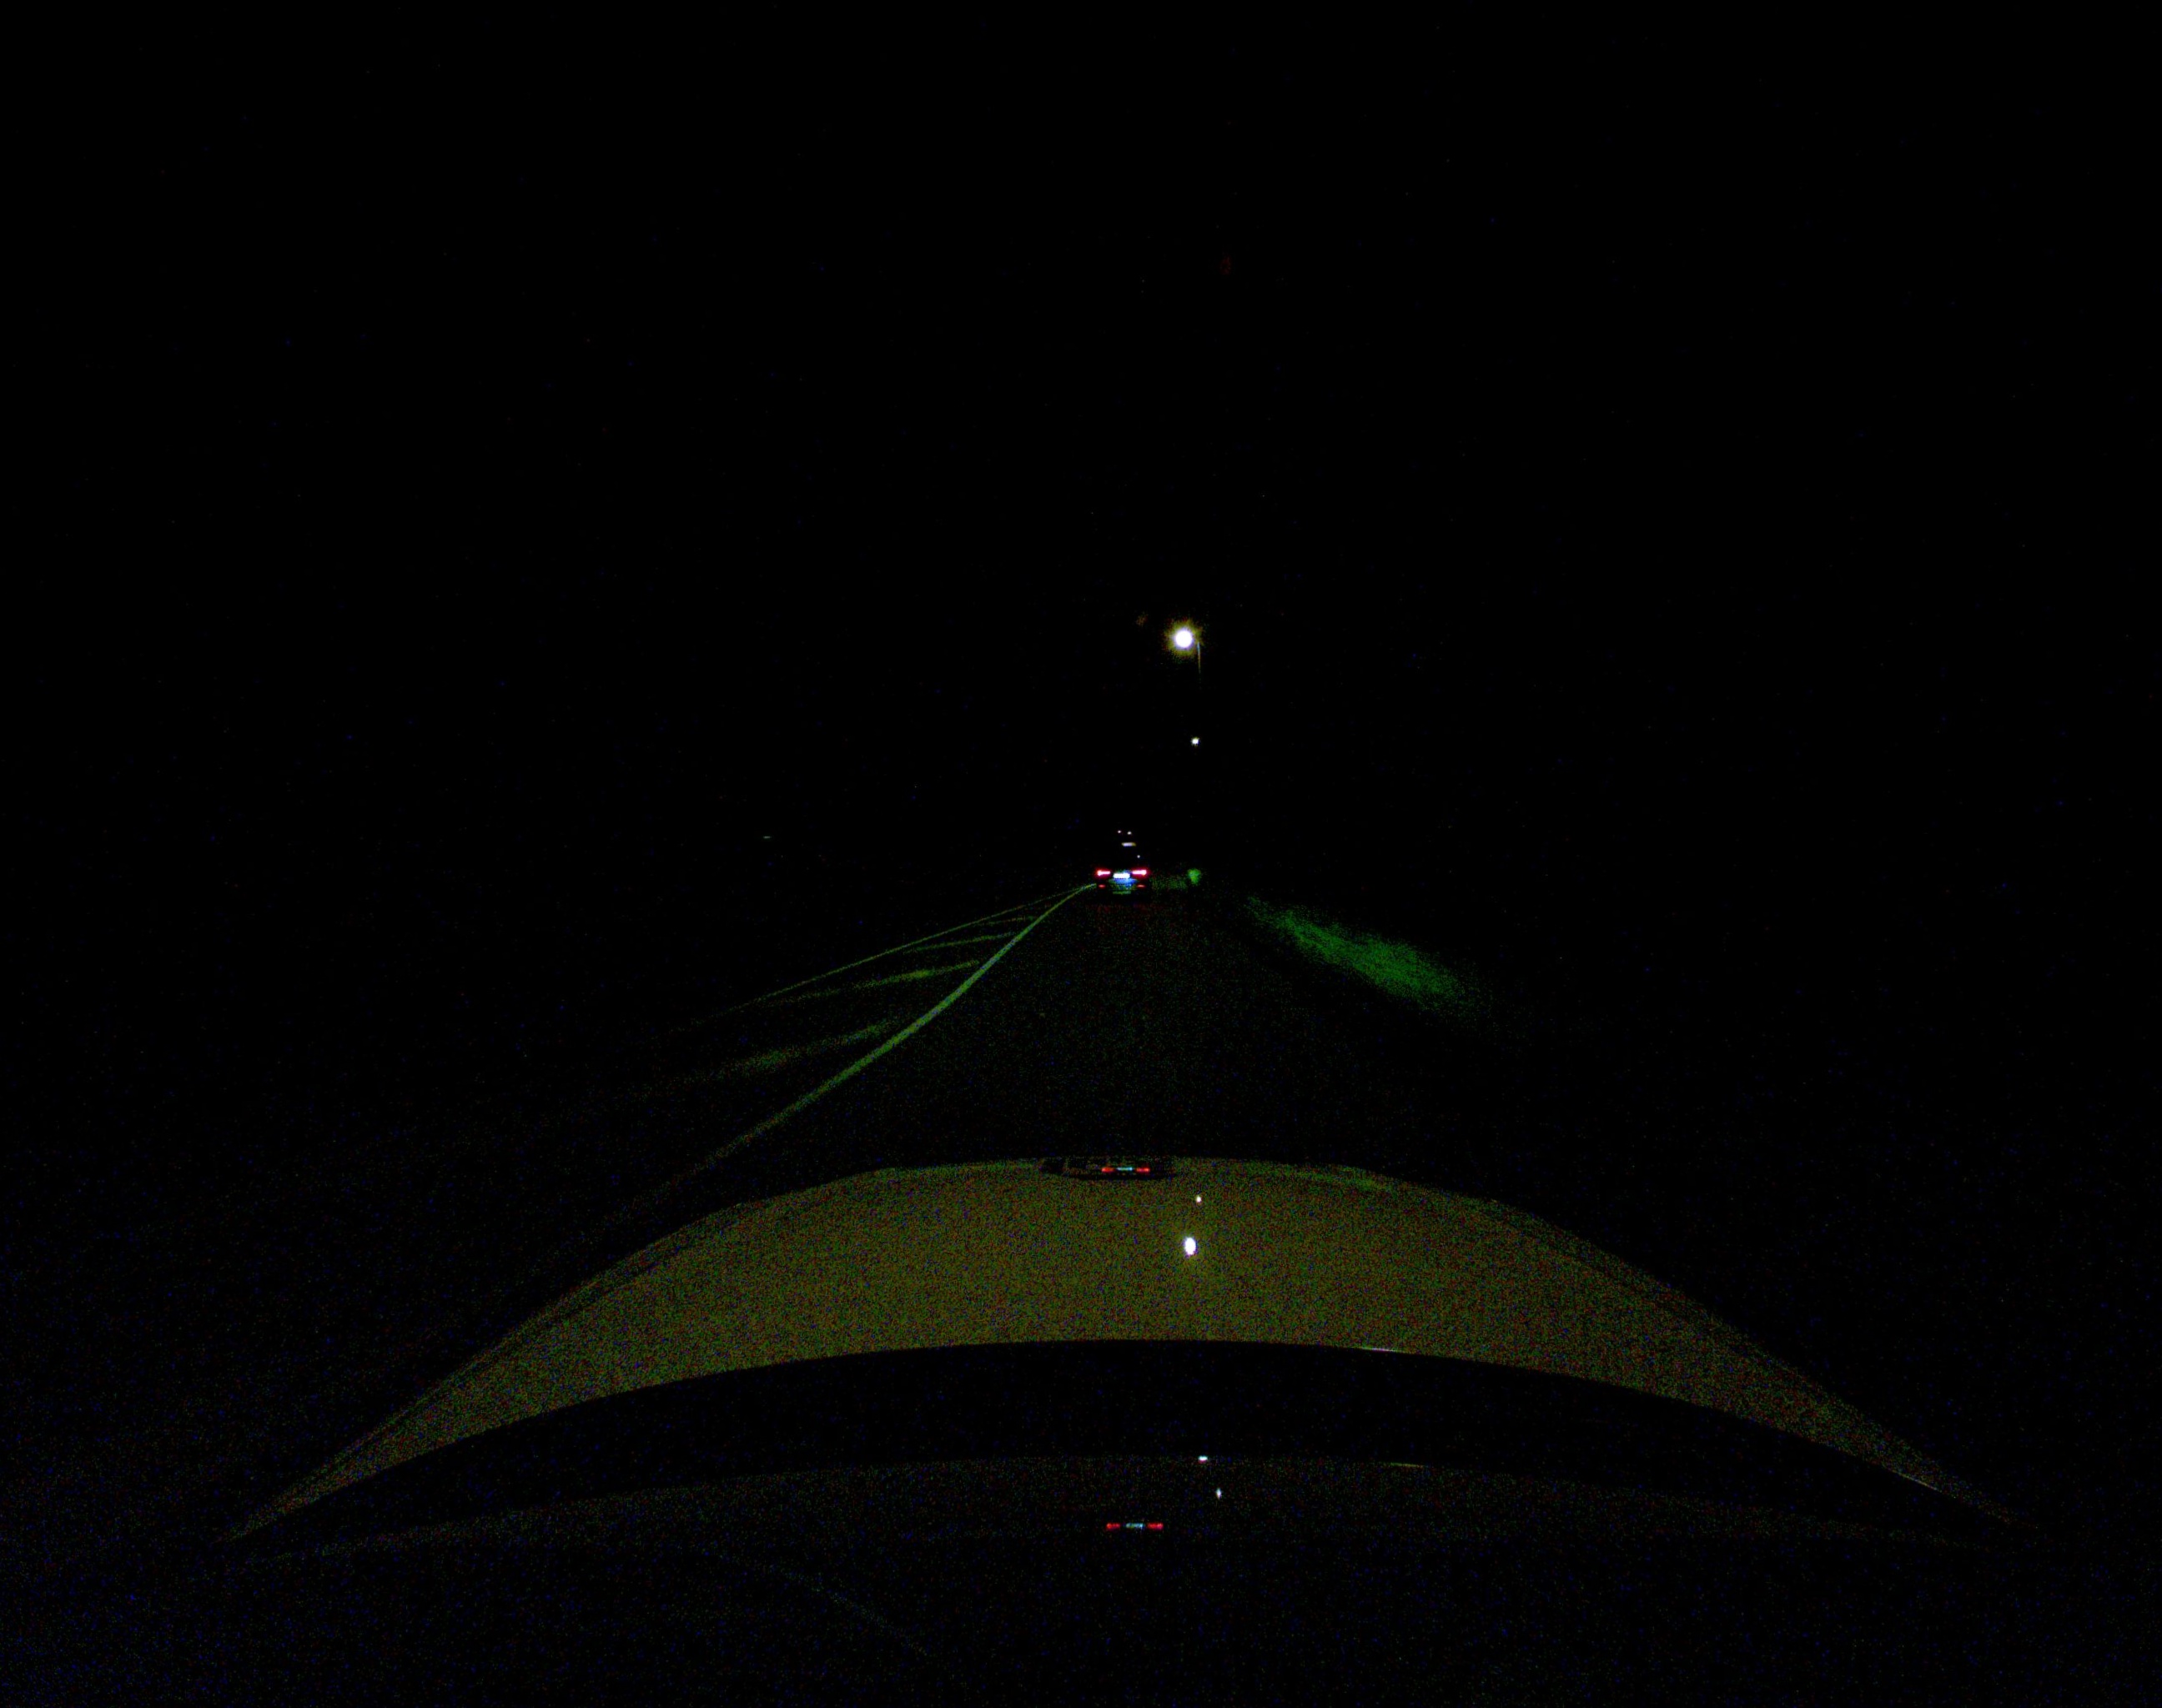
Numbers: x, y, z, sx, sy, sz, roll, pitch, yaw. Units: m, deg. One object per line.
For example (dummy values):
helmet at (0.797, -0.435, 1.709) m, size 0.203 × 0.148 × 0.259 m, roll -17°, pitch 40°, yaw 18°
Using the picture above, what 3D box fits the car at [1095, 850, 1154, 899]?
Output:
car at (1.607, 0.673, 28.771) m, size 1.805 × 1.573 × 3.951 m, roll -1°, pitch 0°, yaw 7°
